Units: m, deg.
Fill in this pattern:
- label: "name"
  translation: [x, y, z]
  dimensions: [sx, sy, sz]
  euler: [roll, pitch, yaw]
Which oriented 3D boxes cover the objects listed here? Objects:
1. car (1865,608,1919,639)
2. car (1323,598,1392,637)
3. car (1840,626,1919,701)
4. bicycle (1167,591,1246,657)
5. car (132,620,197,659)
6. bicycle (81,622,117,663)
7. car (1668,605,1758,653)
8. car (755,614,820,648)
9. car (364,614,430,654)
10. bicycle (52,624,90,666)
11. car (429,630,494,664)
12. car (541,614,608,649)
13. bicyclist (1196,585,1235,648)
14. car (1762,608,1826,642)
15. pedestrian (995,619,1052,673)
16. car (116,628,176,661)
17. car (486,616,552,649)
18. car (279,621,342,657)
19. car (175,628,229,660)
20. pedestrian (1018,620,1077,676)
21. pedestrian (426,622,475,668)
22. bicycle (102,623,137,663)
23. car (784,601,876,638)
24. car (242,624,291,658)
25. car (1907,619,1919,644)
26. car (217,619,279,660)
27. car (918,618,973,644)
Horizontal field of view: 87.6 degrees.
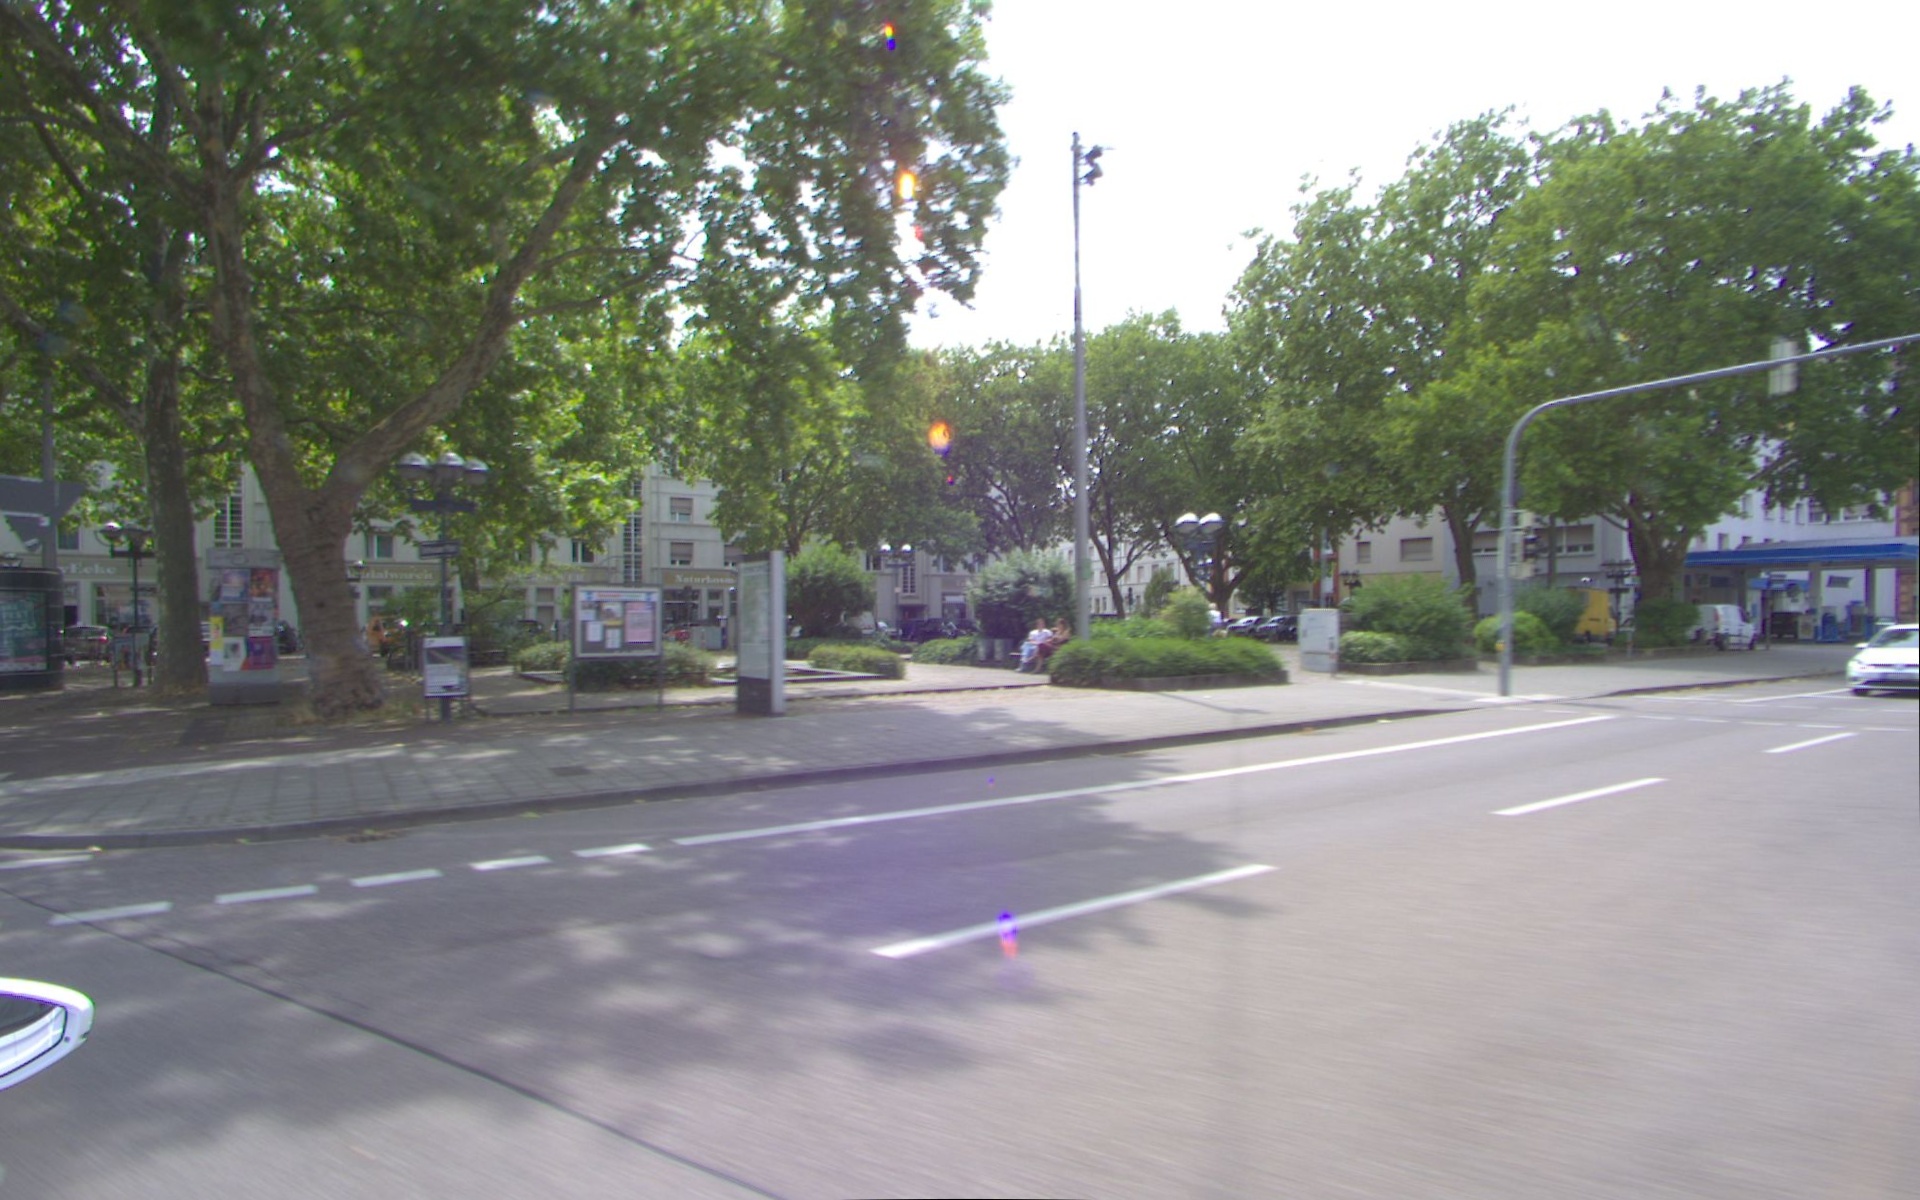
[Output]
- label: "car"
  translation: [62.739, 1.566, 67.230]
  dimensions: [3.946, 2.040, 1.988]
  euler: [1, 0, -33]
- label: "car"
  translation: [22.653, 1.012, 57.065]
  dimensions: [3.982, 2.135, 1.984]
  euler: [0, -1, -39]
- label: "car"
  translation: [19.858, 1.239, 20.348]
  dimensions: [4.229, 1.401, 1.829]
  euler: [1, -1, -32]
- label: "bicycle"
  translation: [6.684, 0.638, 27.238]
  dimensions: [0.713, 1.728, 2.169]
  euler: [0, 0, -35]
- label: "car"
  translation: [-32.095, 1.561, 40.464]
  dimensions: [1.976, 1.483, 3.969]
  euler: [0, -1, -38]
- label: "bicycle"
  translation: [-30.791, 1.513, 35.828]
  dimensions: [0.414, 1.396, 2.301]
  euler: [0, 0, -26]
- label: "car"
  translation: [31.869, 1.197, 42.356]
  dimensions: [4.329, 1.902, 1.985]
  euler: [1, 0, -38]
- label: "car"
  translation: [-9.748, 1.757, 56.438]
  dimensions: [1.895, 1.839, 3.968]
  euler: [0, -1, -39]
- label: "car"
  translation: [-25.724, 1.534, 45.709]
  dimensions: [1.976, 1.717, 4.525]
  euler: [0, -1, -38]
- label: "bicycle"
  translation: [-31.307, 1.548, 35.290]
  dimensions: [0.414, 1.396, 2.301]
  euler: [0, 0, -26]
- label: "car"
  translation: [-23.536, 2.176, 47.231]
  dimensions: [1.976, 1.483, 3.969]
  euler: [0, -1, -38]
- label: "car"
  translation: [-19.195, 1.545, 49.817]
  dimensions: [1.976, 1.639, 4.172]
  euler: [0, -1, -38]
- label: "bicyclist"
  translation: [6.877, 0.445, 26.998]
  dimensions: [0.555, 1.674, 0.861]
  euler: [0, 0, -36]
- label: "car"
  translation: [52.175, 1.553, 62.615]
  dimensions: [3.946, 2.040, 1.988]
  euler: [1, 0, -33]
- label: "pedestrian"
  translation: [1.618, 1.141, 25.397]
  dimensions: [1.164, 1.335, 0.861]
  euler: [0, 0, -36]
- label: "car"
  translation: [-39.170, 2.108, 48.270]
  dimensions: [1.975, 1.523, 4.166]
  euler: [0, -1, -36]
- label: "car"
  translation: [-21.355, 1.565, 48.423]
  dimensions: [1.976, 1.483, 3.969]
  euler: [0, -1, -38]
- label: "car"
  translation: [-28.498, 1.687, 43.910]
  dimensions: [1.976, 1.483, 3.969]
  euler: [0, -1, -38]
- label: "car"
  translation: [-37.508, 2.155, 49.622]
  dimensions: [1.975, 1.507, 4.166]
  euler: [0, -1, -36]
- label: "pedestrian"
  translation: [2.142, 1.168, 24.605]
  dimensions: [1.164, 1.335, 0.861]
  euler: [0, 0, -36]
- label: "pedestrian"
  translation: [-14.233, 1.235, 27.975]
  dimensions: [1.085, 1.228, 1.134]
  euler: [0, -1, -34]
- label: "bicycle"
  translation: [-30.180, 1.518, 35.981]
  dimensions: [0.414, 1.396, 2.302]
  euler: [0, -1, -26]
- label: "car"
  translation: [-6.637, 1.001, 51.442]
  dimensions: [4.277, 1.839, 1.987]
  euler: [0, -1, -35]
- label: "car"
  translation: [-35.201, 2.050, 50.817]
  dimensions: [1.975, 1.611, 4.166]
  euler: [0, -1, -36]
- label: "car"
  translation: [51.204, 1.647, 52.077]
  dimensions: [3.947, 1.283, 1.987]
  euler: [1, -1, -34]
- label: "car"
  translation: [-30.277, 1.640, 42.519]
  dimensions: [1.976, 1.619, 3.969]
  euler: [0, -1, -38]
- label: "car"
  translation: [-0.932, 1.906, 62.362]
  dimensions: [1.968, 1.502, 4.086]
  euler: [0, -1, -24]
